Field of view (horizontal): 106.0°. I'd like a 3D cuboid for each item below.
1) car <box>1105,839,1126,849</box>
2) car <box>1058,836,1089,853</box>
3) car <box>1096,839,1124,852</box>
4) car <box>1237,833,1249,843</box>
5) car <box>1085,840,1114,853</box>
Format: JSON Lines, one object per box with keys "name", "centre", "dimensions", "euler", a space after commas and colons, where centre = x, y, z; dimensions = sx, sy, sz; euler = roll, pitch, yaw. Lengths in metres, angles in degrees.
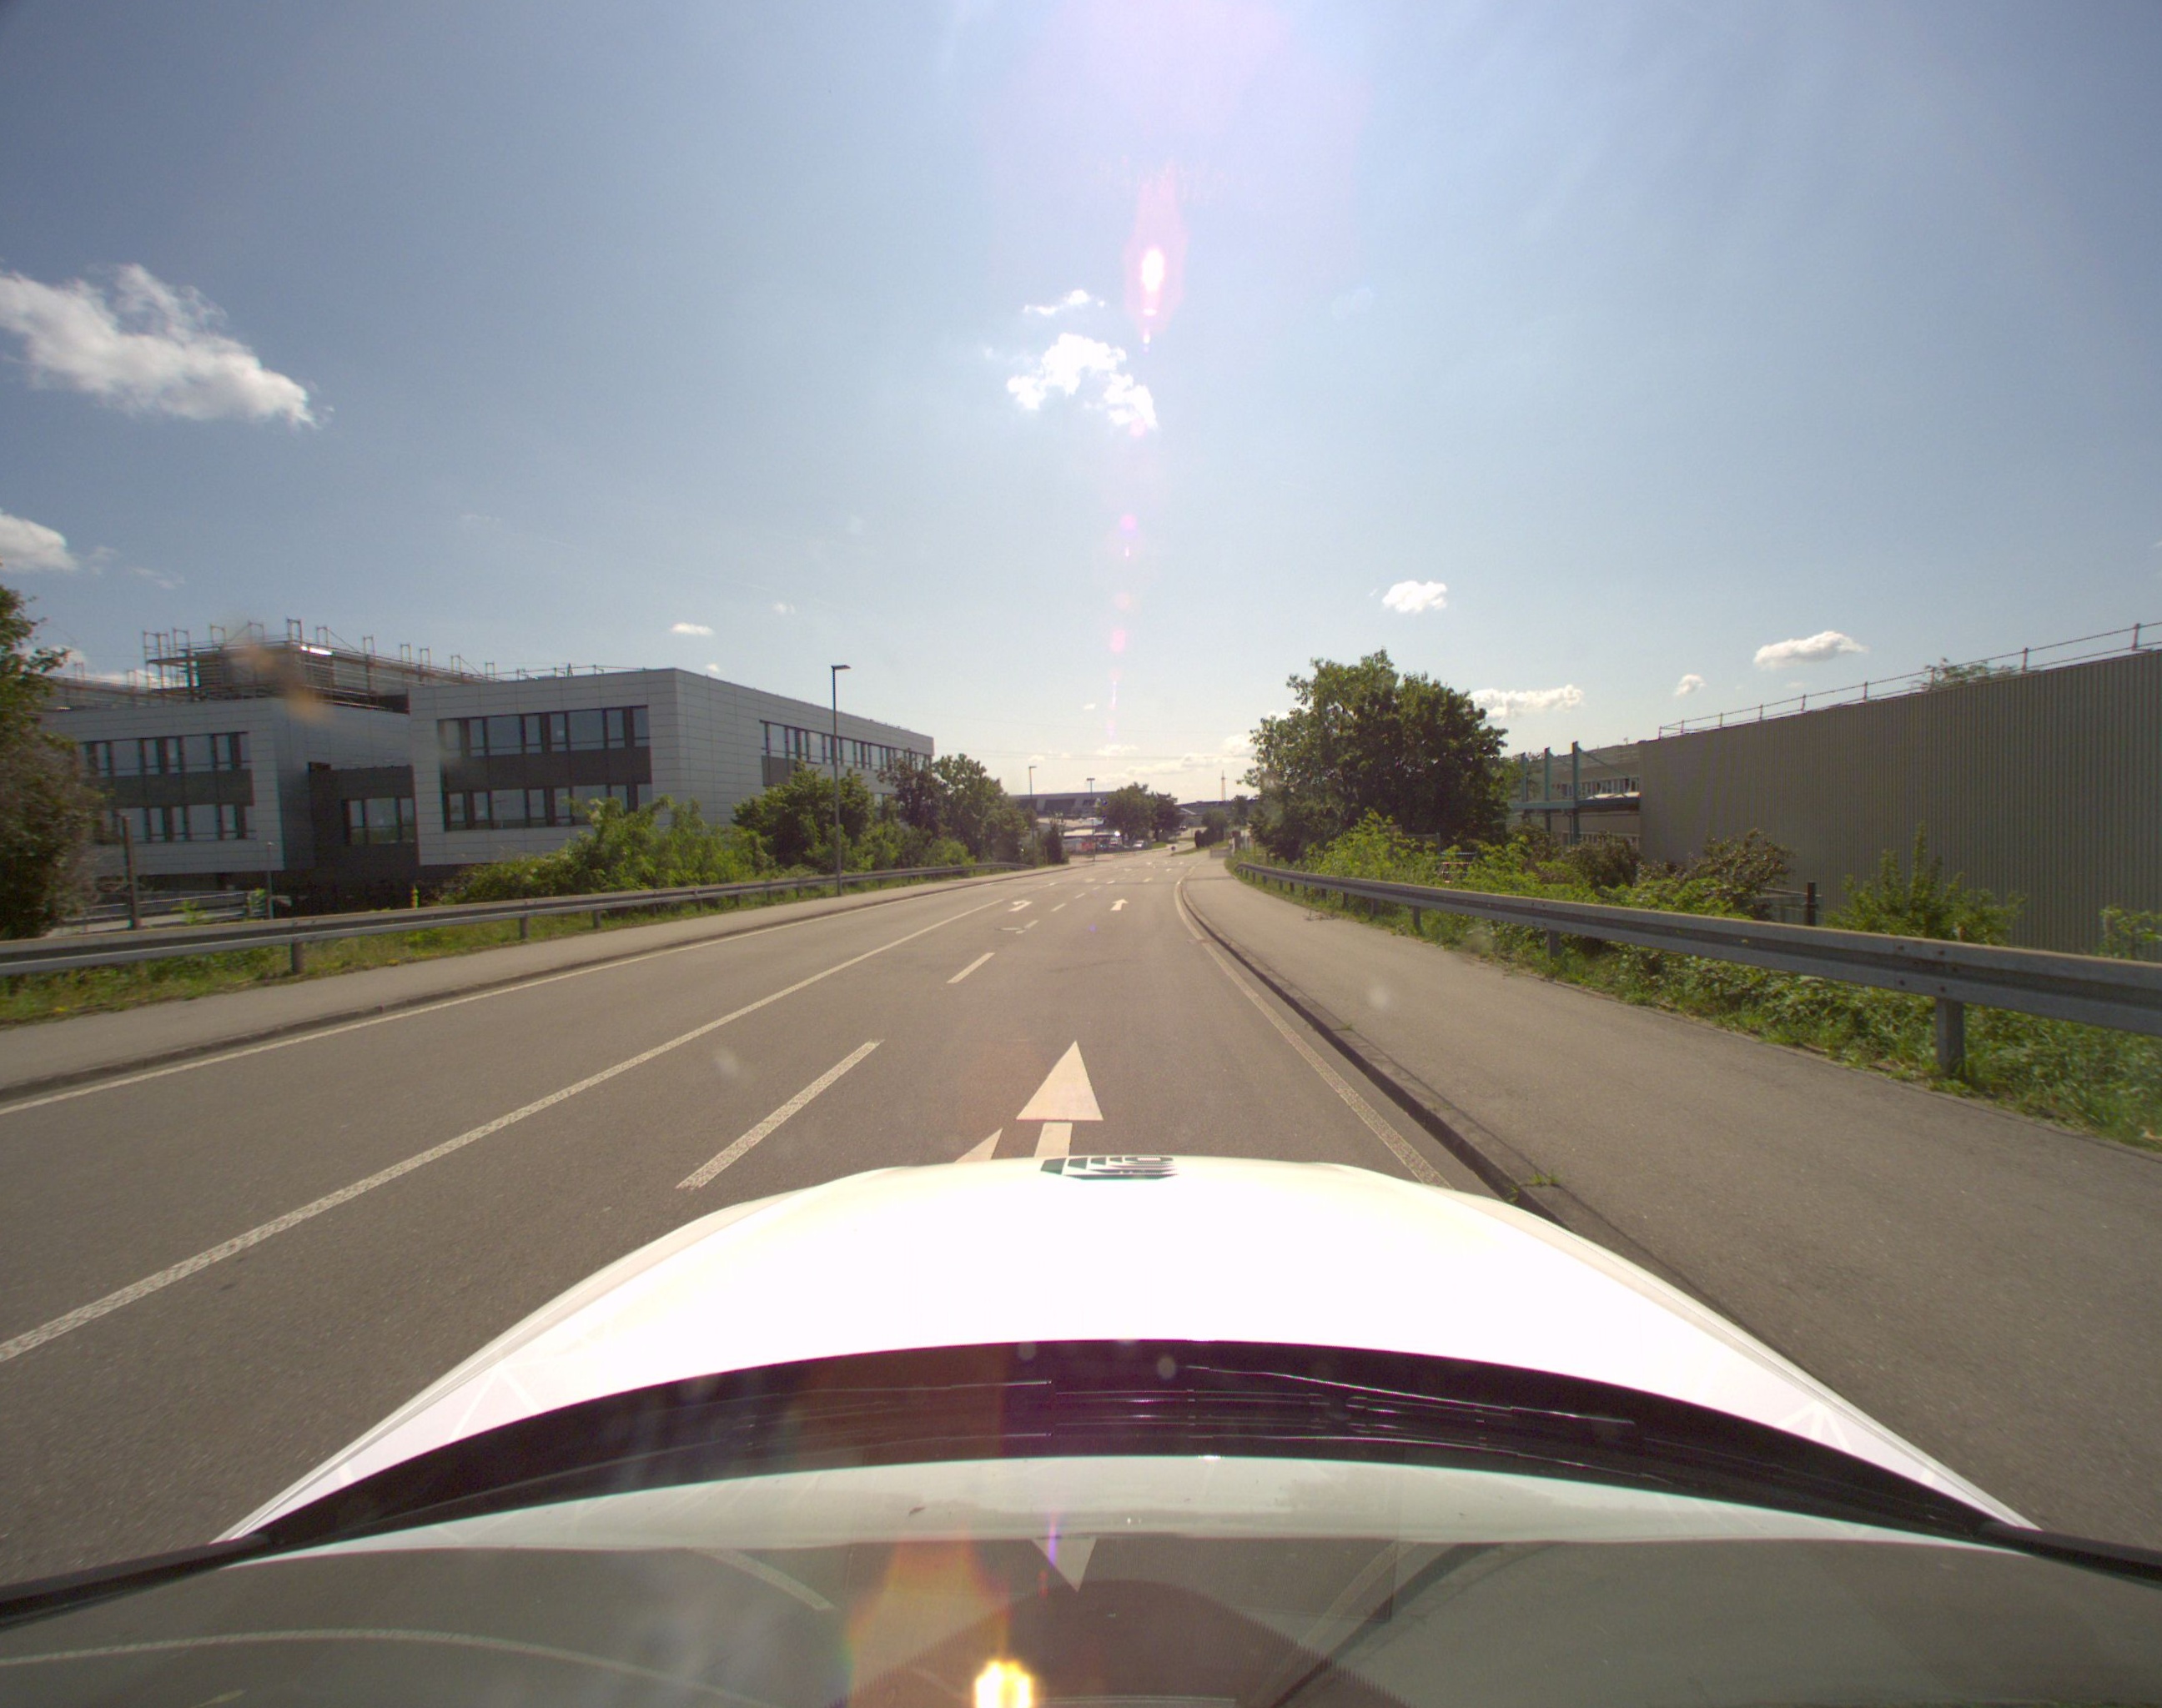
{"name": "car", "centre": [6.828, -1.918, 162.096], "dimensions": [3.975, 1.850, 1.834], "euler": [-2, 1, -1]}
{"name": "car", "centre": [-1.129, -1.434, 124.419], "dimensions": [4.309, 2.608, 2.013], "euler": [-1, 1, 38]}
{"name": "car", "centre": [4.652, -1.400, 130.033], "dimensions": [3.948, 1.903, 2.013], "euler": [1, 3, 37]}
{"name": "car", "centre": [33.617, -3.265, 169.104], "dimensions": [2.257, 1.946, 4.681], "euler": [2, 2, 12]}
{"name": "car", "centre": [2.877, -1.188, 127.521], "dimensions": [3.948, 1.780, 2.013], "euler": [1, 3, 36]}
